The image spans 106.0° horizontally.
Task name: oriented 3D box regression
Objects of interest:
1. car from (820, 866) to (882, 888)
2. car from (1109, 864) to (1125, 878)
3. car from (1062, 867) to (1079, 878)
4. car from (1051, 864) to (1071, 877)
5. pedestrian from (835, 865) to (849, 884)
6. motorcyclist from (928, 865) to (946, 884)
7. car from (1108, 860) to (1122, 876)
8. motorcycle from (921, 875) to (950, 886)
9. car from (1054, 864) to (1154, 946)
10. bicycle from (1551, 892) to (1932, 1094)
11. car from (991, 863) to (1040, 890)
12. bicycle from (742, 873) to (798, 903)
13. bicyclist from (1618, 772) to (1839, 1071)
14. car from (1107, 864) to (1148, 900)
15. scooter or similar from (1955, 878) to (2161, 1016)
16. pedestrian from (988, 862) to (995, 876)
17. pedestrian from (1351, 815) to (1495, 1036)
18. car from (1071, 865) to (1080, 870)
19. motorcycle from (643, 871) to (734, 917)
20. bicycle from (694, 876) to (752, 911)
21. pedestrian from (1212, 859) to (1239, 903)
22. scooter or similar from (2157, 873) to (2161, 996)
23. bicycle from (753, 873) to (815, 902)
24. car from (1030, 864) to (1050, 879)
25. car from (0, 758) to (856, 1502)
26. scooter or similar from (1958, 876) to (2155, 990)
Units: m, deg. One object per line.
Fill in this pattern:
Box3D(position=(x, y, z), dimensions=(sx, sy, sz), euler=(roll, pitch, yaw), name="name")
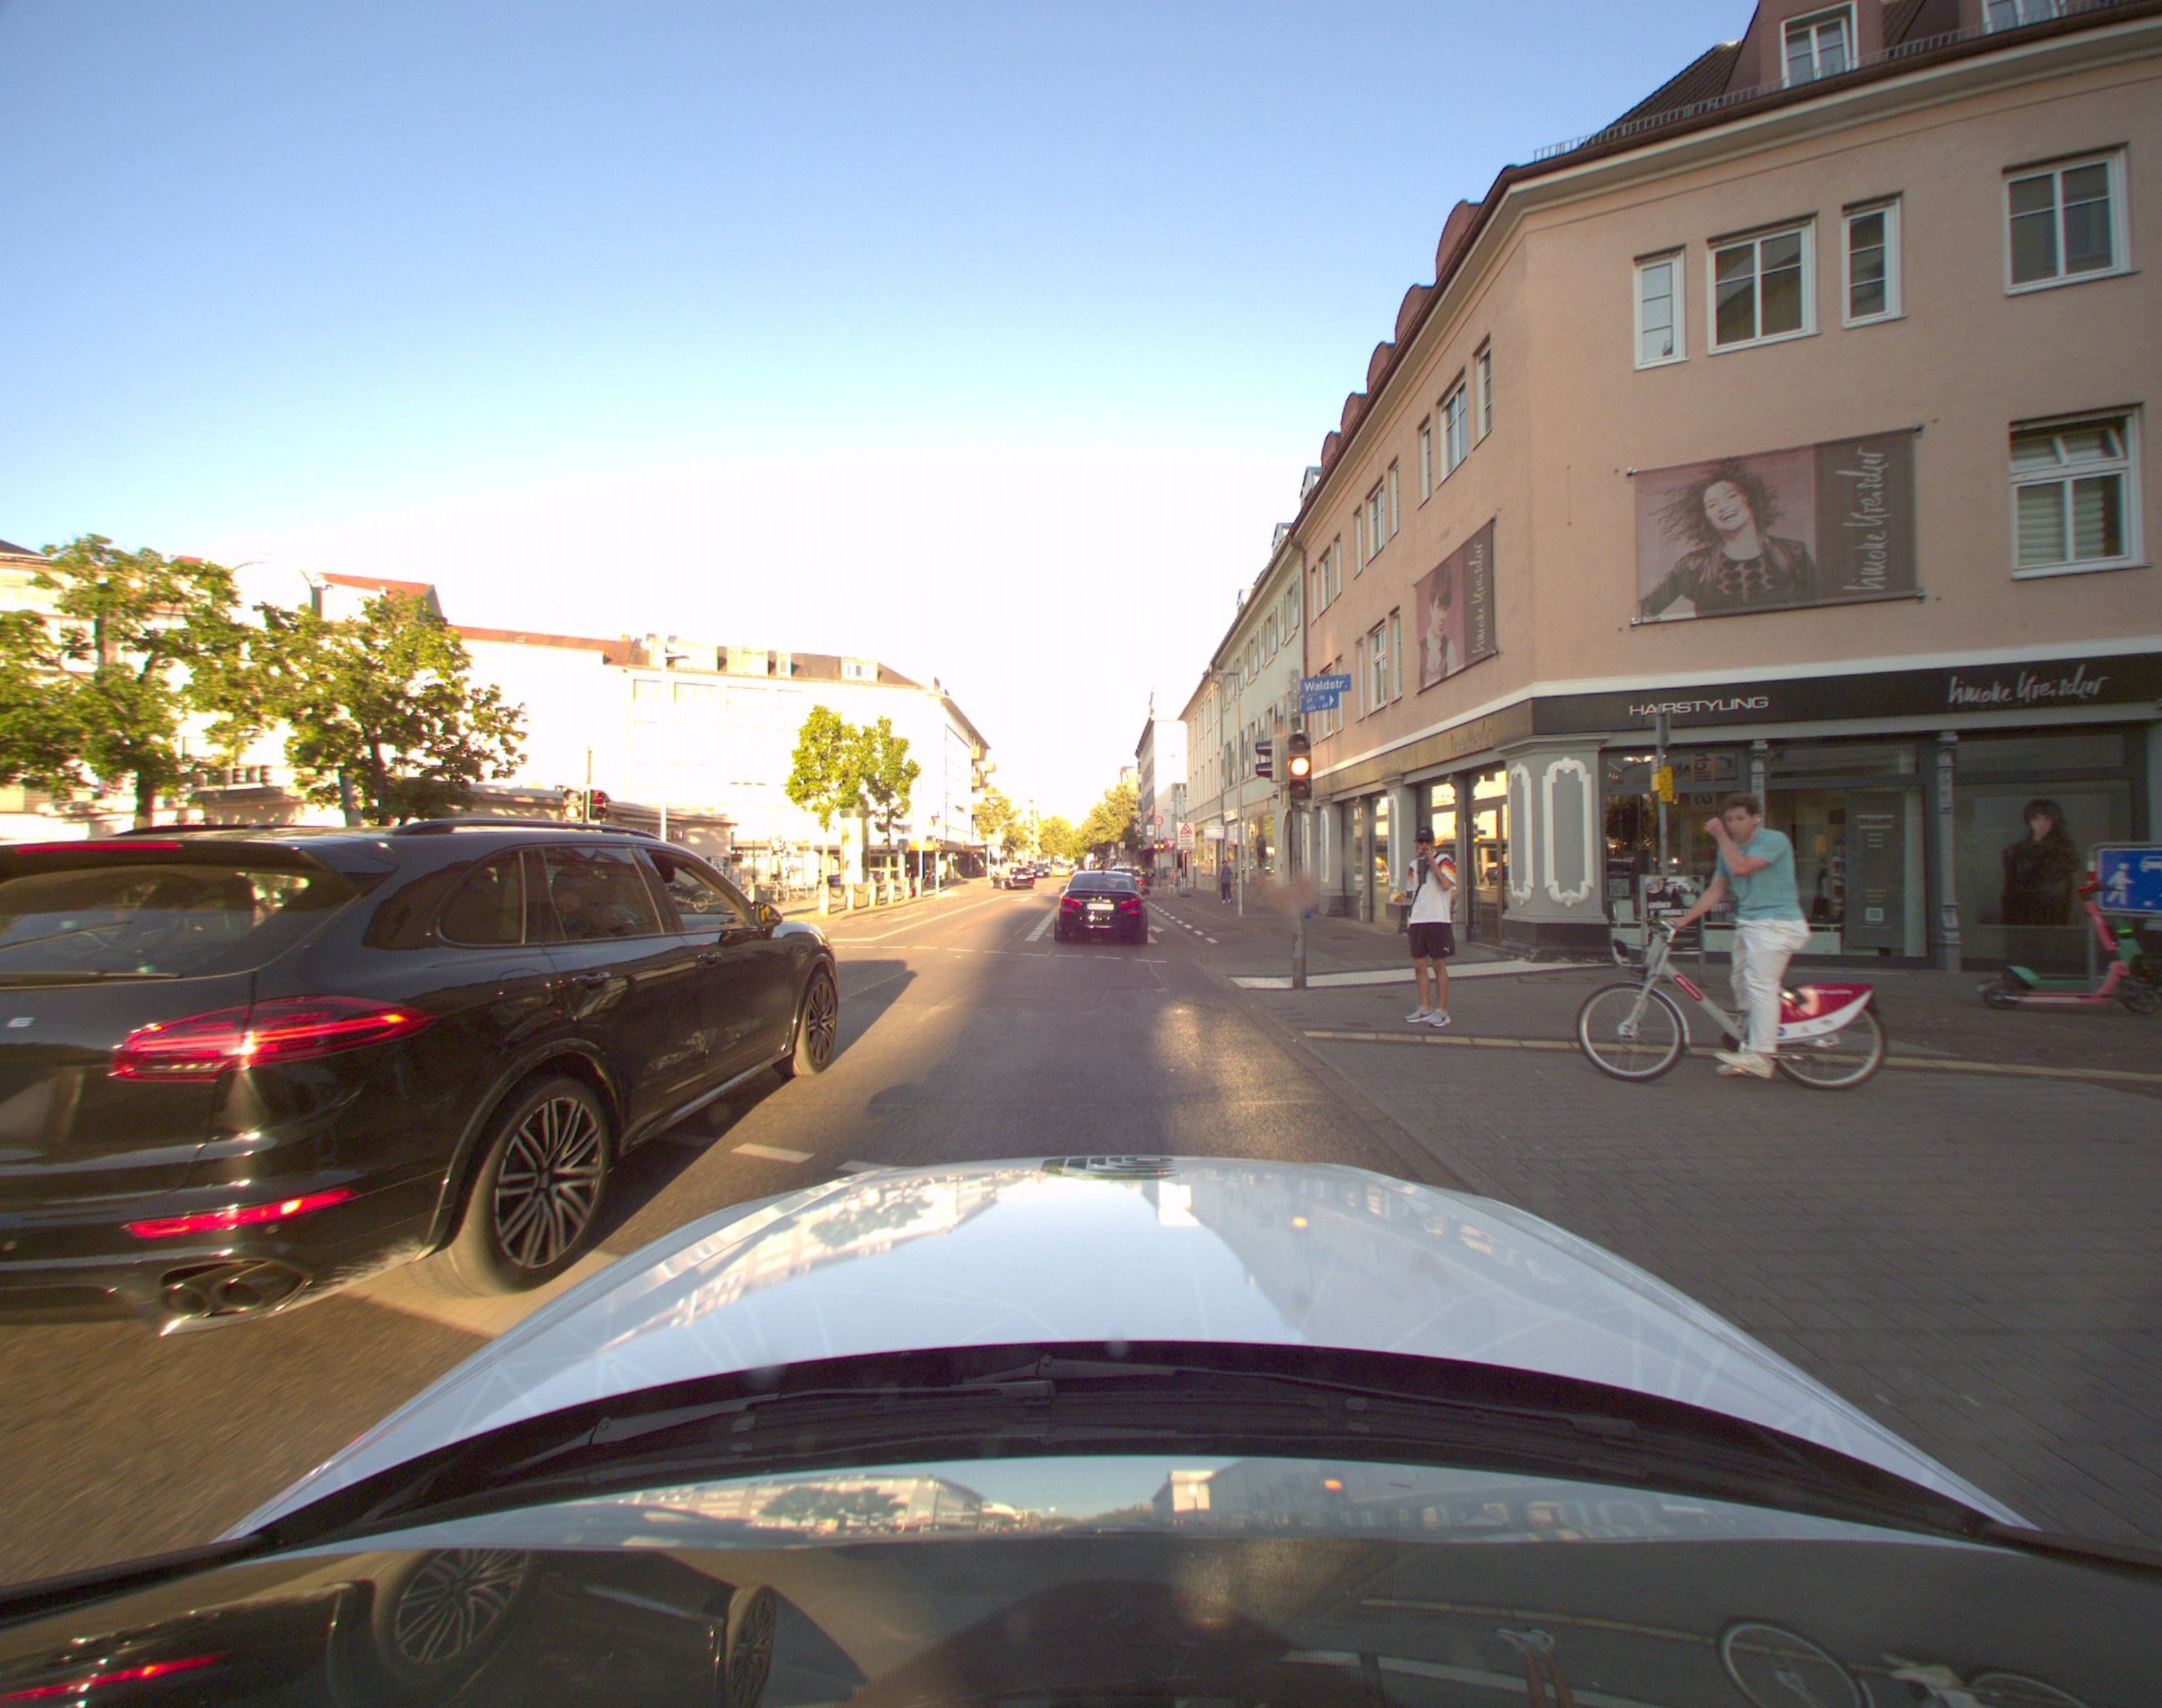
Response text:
Box3D(position=(-16.577, 1.647, 58.826), dimensions=(3.976, 1.486, 1.999), euler=(0, -1, -2), name="car")
Box3D(position=(3.968, 1.854, 89.742), dimensions=(1.620, 1.471, 3.394), euler=(0, -1, 0), name="car")
Box3D(position=(-1.288, 2.270, 99.730), dimensions=(1.731, 1.293, 3.993), euler=(-1, -1, -5), name="car")
Box3D(position=(-2.294, 1.898, 92.972), dimensions=(1.990, 1.442, 3.993), euler=(-1, -1, -5), name="car")
Box3D(position=(-19.409, 1.662, 66.127), dimensions=(0.950, 1.537, 0.901), euler=(0, -1, -24), name="pedestrian")
Box3D(position=(-9.934, 1.413, 56.183), dimensions=(0.982, 1.320, 0.773), euler=(-1, -1, 31), name="motorcyclist")
Box3D(position=(4.010, 1.622, 96.152), dimensions=(1.417, 1.855, 3.049), euler=(0, -1, -2), name="car")
Box3D(position=(-10.020, 1.825, 56.190), dimensions=(2.007, 0.780, 0.668), euler=(-1, -1, 29), name="motorcycle")
Box3D(position=(0.422, 0.995, 17.694), dimensions=(1.898, 1.540, 4.448), euler=(0, -1, 0), name="car")
Box3D(position=(4.296, 0.875, 5.454), dimensions=(1.808, 1.186, 0.795), euler=(-1, -1, 10), name="bicycle")
Box3D(position=(-4.093, 1.329, 50.265), dimensions=(1.879, 1.595, 4.419), euler=(0, -1, -20), name="car")
Box3D(position=(-13.227, 1.439, 34.672), dimensions=(1.998, 1.256, 0.950), euler=(-1, -1, 2), name="bicycle")
Box3D(position=(4.273, 0.420, 5.456), dimensions=(0.828, 1.826, 0.833), euler=(-1, -1, 8), name="bicyclist")
Box3D(position=(2.144, 1.290, 38.279), dimensions=(1.825, 1.576, 4.102), euler=(0, -1, 2), name="car")
Box3D(position=(9.196, 0.840, 7.648), dimensions=(1.242, 1.214, 0.470), euler=(-1, -1, 23), name="scooter or similar")
Box3D(position=(-10.919, 1.787, 99.482), dimensions=(0.821, 1.676, 0.871), euler=(0, -1, -1), name="pedestrian")
Box3D(position=(3.183, 0.621, 7.611), dimensions=(0.944, 1.898, 0.817), euler=(0, -1, -32), name="pedestrian")
Box3D(position=(-1.238, 3.105, 188.579), dimensions=(1.731, 1.293, 3.993), euler=(-1, -1, -5), name="car")
Box3D(position=(-12.962, 1.316, 26.909), dimensions=(2.571, 1.430, 0.868), euler=(-1, -1, 2), name="motorcycle")
Box3D(position=(-13.244, 1.460, 30.121), dimensions=(1.846, 1.256, 0.633), euler=(-1, -1, 2), name="bicycle")
Box3D(position=(5.527, 1.017, 31.201), dimensions=(0.821, 1.642, 0.871), euler=(-1, -1, -1), name="pedestrian")
Box3D(position=(11.453, 0.811, 7.884), dimensions=(1.189, 1.260, 0.366), euler=(-1, -1, 26), name="scooter or similar")
Box3D(position=(-13.110, 1.469, 35.965), dimensions=(2.434, 1.256, 0.787), euler=(-1, -1, 2), name="bicycle")
Box3D(position=(-4.398, 1.847, 87.411), dimensions=(1.990, 1.618, 3.993), euler=(-1, -1, -5), name="car")
Box3D(position=(-2.809, 0.671, 4.180), dimensions=(1.942, 1.714, 4.562), euler=(-1, -1, 1), name="car")
Box3D(position=(10.368, 0.811, 8.701), dimensions=(1.289, 1.143, 0.366), euler=(-1, -1, 28), name="scooter or similar")
